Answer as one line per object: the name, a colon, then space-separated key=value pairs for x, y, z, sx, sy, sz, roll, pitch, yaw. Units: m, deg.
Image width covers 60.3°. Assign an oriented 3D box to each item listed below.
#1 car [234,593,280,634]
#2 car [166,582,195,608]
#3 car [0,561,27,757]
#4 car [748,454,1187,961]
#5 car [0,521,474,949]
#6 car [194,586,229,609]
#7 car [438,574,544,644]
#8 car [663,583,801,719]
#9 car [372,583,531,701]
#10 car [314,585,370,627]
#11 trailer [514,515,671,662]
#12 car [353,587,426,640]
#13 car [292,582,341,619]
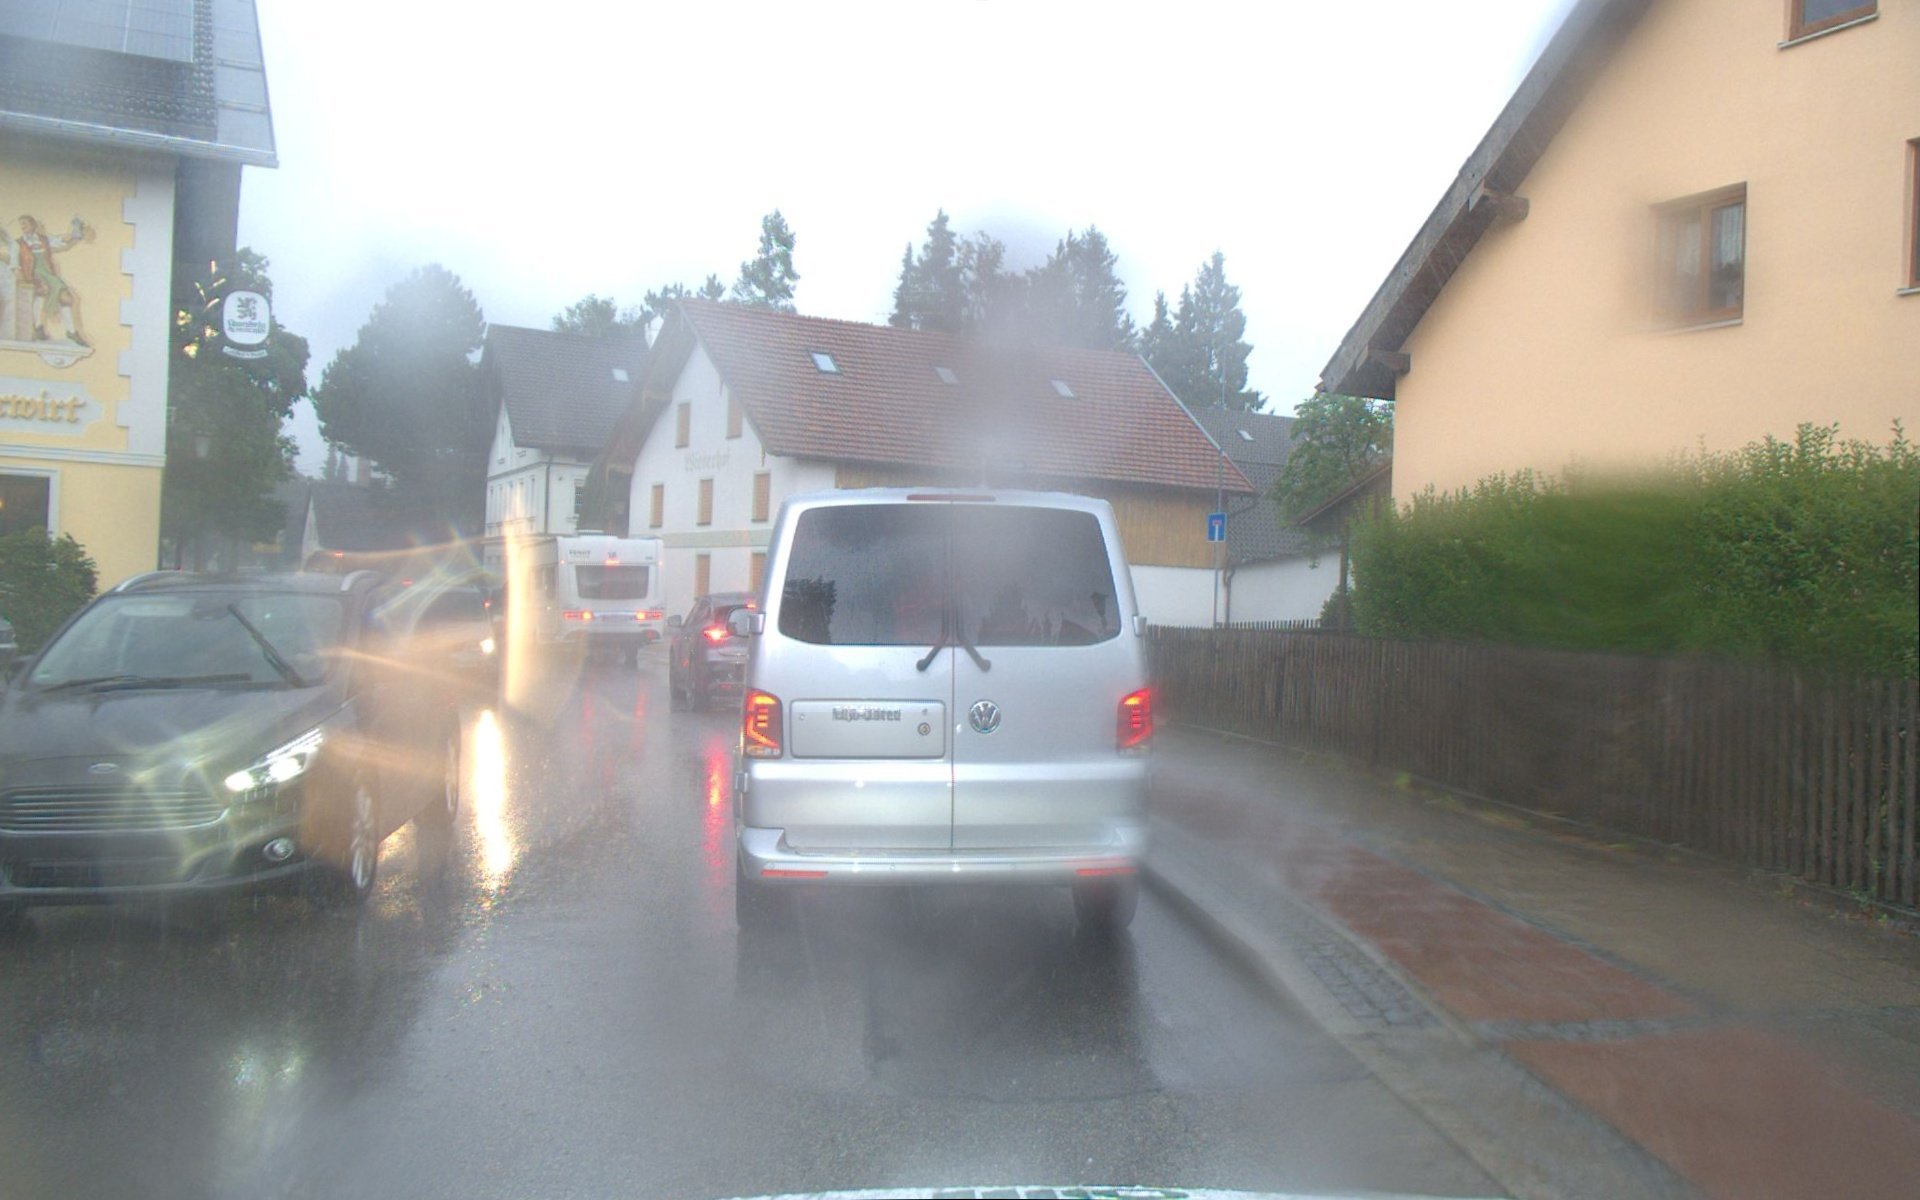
car: x=-35.584 y=0.698 z=83.677 sx=1.829 sy=2.006 sz=4.659 roll=0 pitch=0 yaw=-27
car: x=-57.160 y=-0.363 z=121.327 sx=1.839 sy=1.788 sz=4.448 roll=-2 pitch=1 yaw=-25
car: x=-10.420 y=0.324 z=13.812 sx=4.426 sy=1.594 sz=1.822 roll=5 pitch=0 yaw=-29
car: x=-0.103 y=0.428 z=9.109 sx=1.741 sy=1.997 sz=5.070 roll=0 pitch=0 yaw=-3
car: x=-3.876 y=0.550 z=9.014 sx=1.887 sy=1.775 sz=4.182 roll=0 pitch=0 yaw=-10
car: x=-47.730 y=-0.182 z=105.450 sx=1.841 sy=1.382 sz=4.443 roll=0 pitch=1 yaw=-27
car: x=-14.158 y=0.270 z=49.712 sx=2.143 sy=1.932 sz=4.971 roll=2 pitch=-1 yaw=-26
car: x=-3.219 y=0.599 z=22.749 sx=1.677 sy=1.611 sz=4.674 roll=-1 pitch=1 yaw=-10
car: x=-8.068 y=0.612 z=26.036 sx=1.733 sy=1.707 sz=3.964 roll=0 pitch=0 yaw=-27
car: x=-31.741 y=0.296 z=84.829 sx=2.143 sy=1.932 sz=4.972 roll=2 pitch=0 yaw=-26
trailer: x=-8.208 y=-0.232 z=36.430 sx=2.241 sy=2.955 sz=6.086 roll=1 pitch=0 yaw=-24
car: x=-23.096 y=0.520 z=66.868 sx=2.143 sy=1.932 sz=4.972 roll=2 pitch=0 yaw=-26
car: x=-36.709 y=0.005 z=94.263 sx=2.143 sy=1.932 sz=4.972 roll=2 pitch=0 yaw=-26
